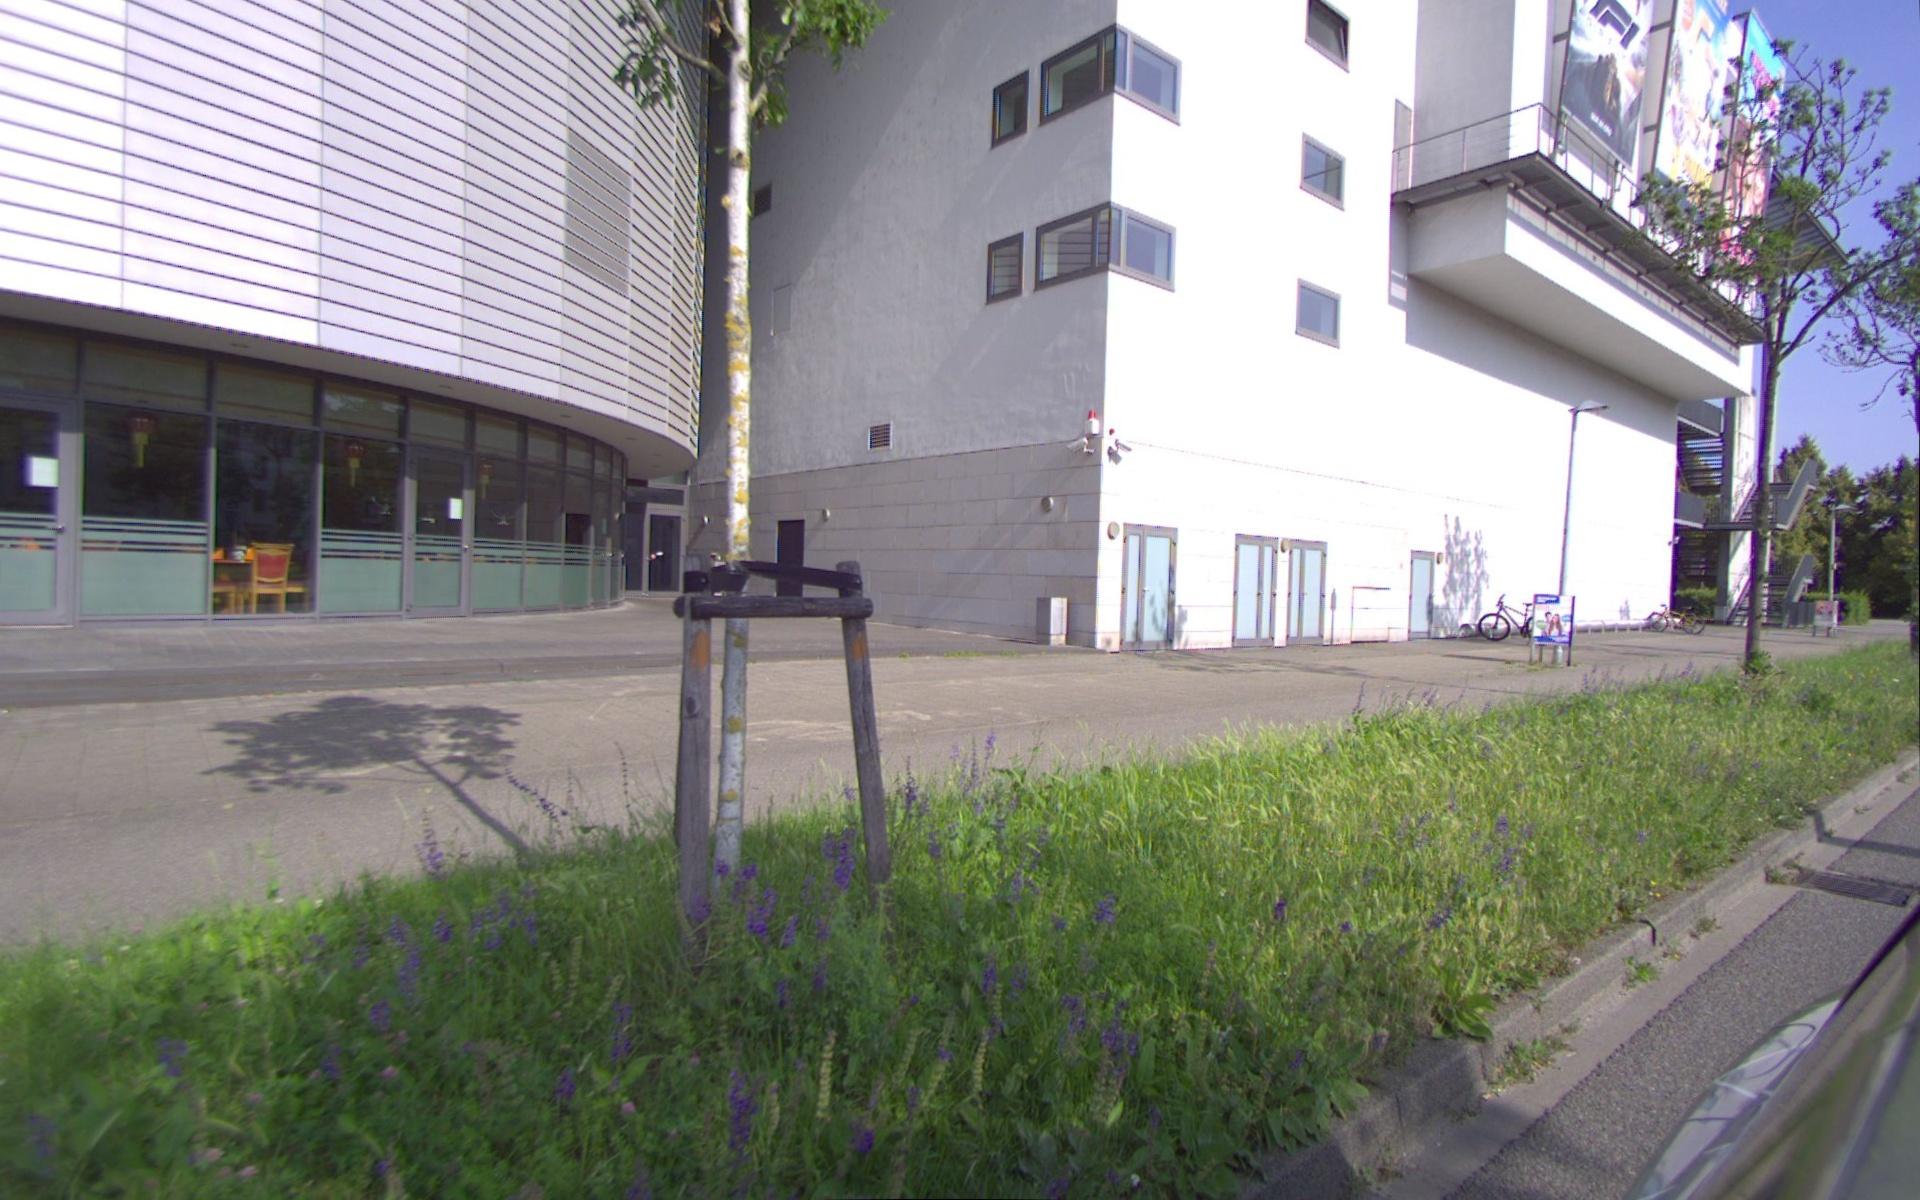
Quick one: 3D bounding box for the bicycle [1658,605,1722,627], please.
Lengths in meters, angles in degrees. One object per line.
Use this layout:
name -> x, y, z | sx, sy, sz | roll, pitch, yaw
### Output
bicycle -> 24.835, 0.534, 34.460 | 0.528, 0.653, 1.661 | 0, 2, -39

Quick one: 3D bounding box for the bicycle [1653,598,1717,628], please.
bicycle -> 24.349, 0.432, 34.015 | 0.474, 0.926, 1.661 | 1, 2, -39

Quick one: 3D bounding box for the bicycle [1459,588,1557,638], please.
bicycle -> 13.297, 0.296, 24.614 | 0.663, 1.116, 2.015 | 0, 1, -35
